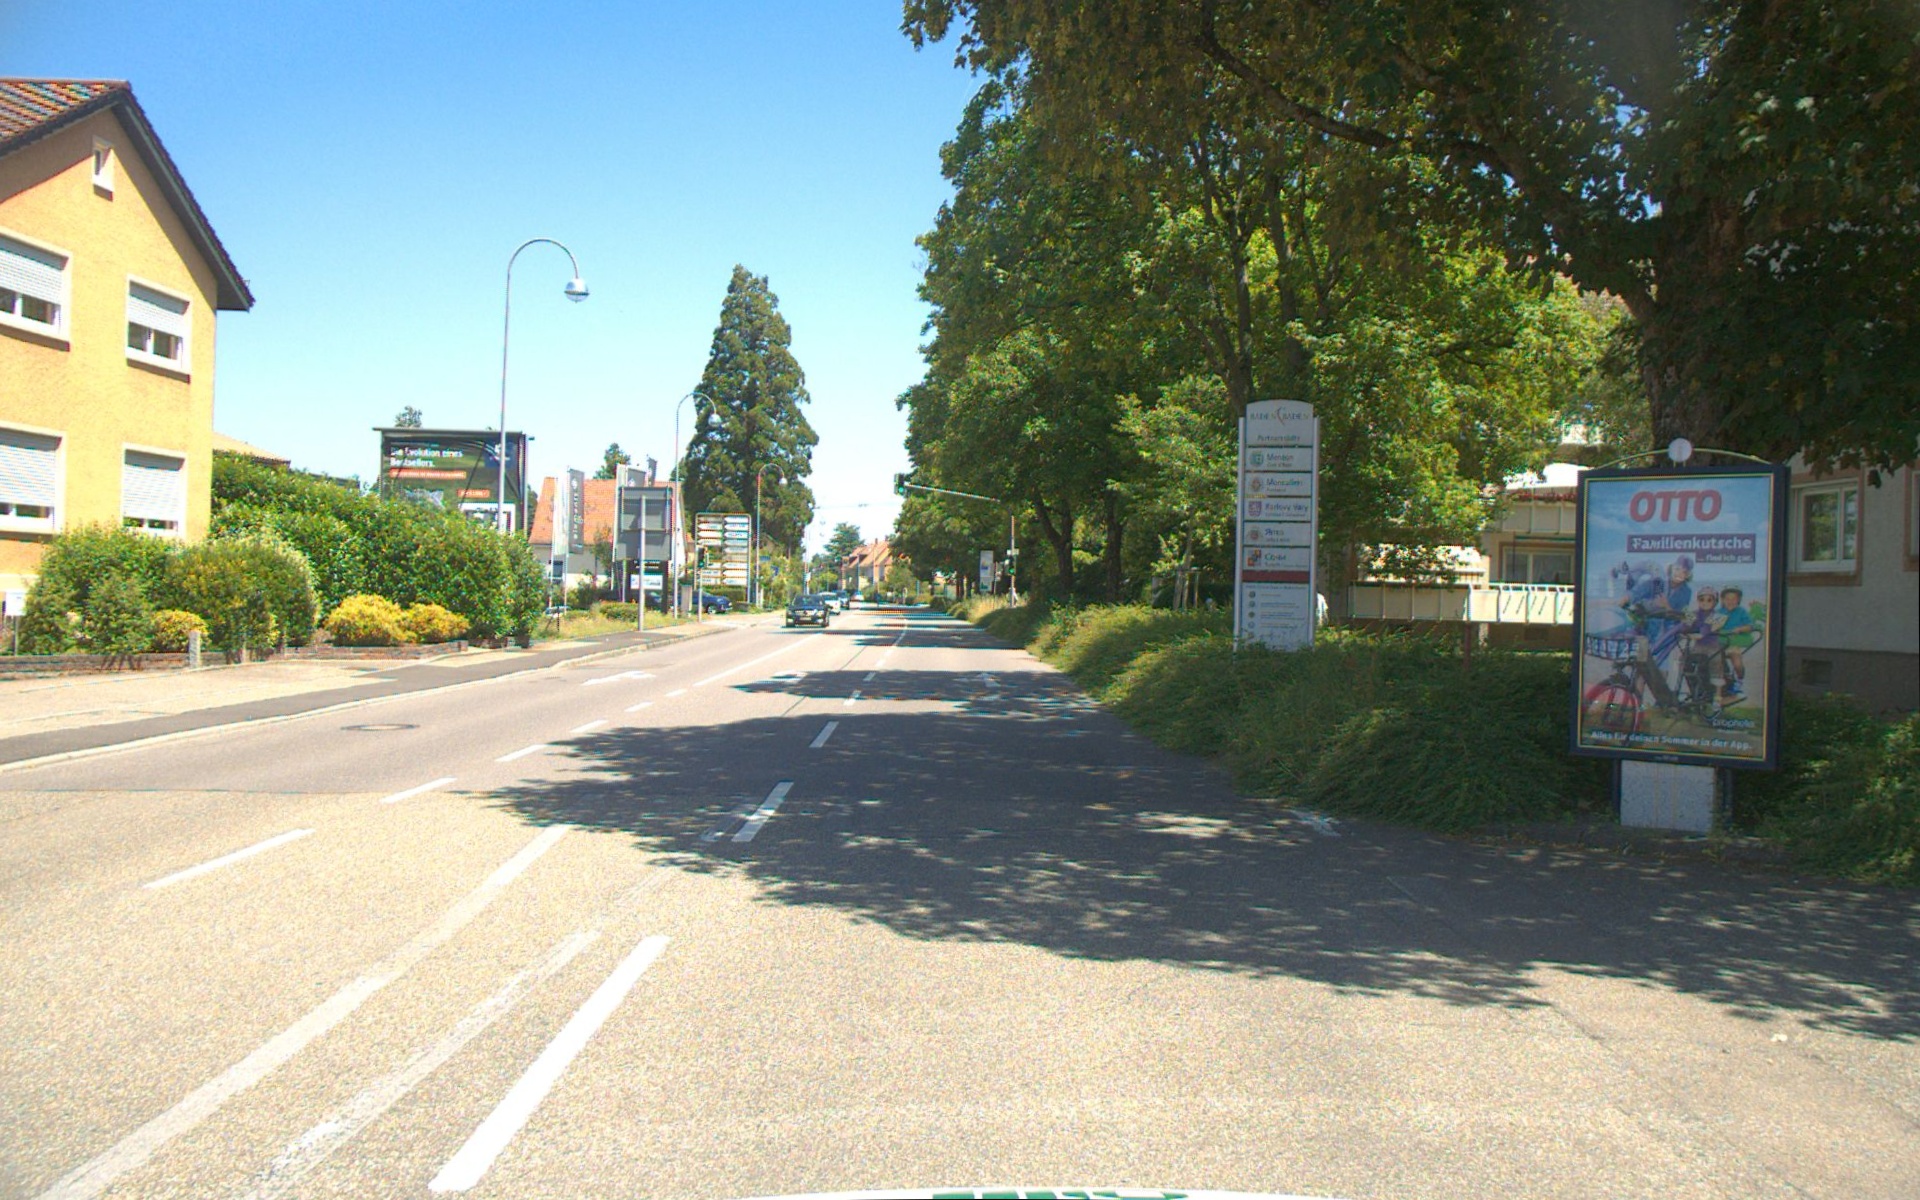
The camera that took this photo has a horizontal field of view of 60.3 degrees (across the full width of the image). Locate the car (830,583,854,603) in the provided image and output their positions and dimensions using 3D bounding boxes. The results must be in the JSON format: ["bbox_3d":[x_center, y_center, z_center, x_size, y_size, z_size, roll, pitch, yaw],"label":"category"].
[{"bbox_3d":[-10.495,-0.617,147.061,1.841,1.747,4.309,1,0,-1],"label":"car"}]

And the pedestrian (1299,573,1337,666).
[{"bbox_3d":[7.611,0.410,35.194,0.689,1.948,0.660,1,0,2],"label":"pedestrian"}]

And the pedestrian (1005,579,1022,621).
[{"bbox_3d":[2.285,0.015,70.359,0.600,1.781,0.562,1,-1,10],"label":"pedestrian"}]

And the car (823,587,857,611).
[{"bbox_3d":[-8.078,-0.094,111.829,1.953,1.513,4.310,0,1,0],"label":"car"}]

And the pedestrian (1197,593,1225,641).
[{"bbox_3d":[7.246,0.488,47.736,0.648,1.358,0.889,1,0,-1],"label":"pedestrian"}]

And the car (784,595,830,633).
[{"bbox_3d":[-6.629,0.590,72.086,1.675,1.521,4.277,1,1,-1],"label":"car"}]

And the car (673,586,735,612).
[{"bbox_3d":[-15.105,-0.052,97.730,3.420,1.452,1.600,1,0,-2],"label":"car"}]
